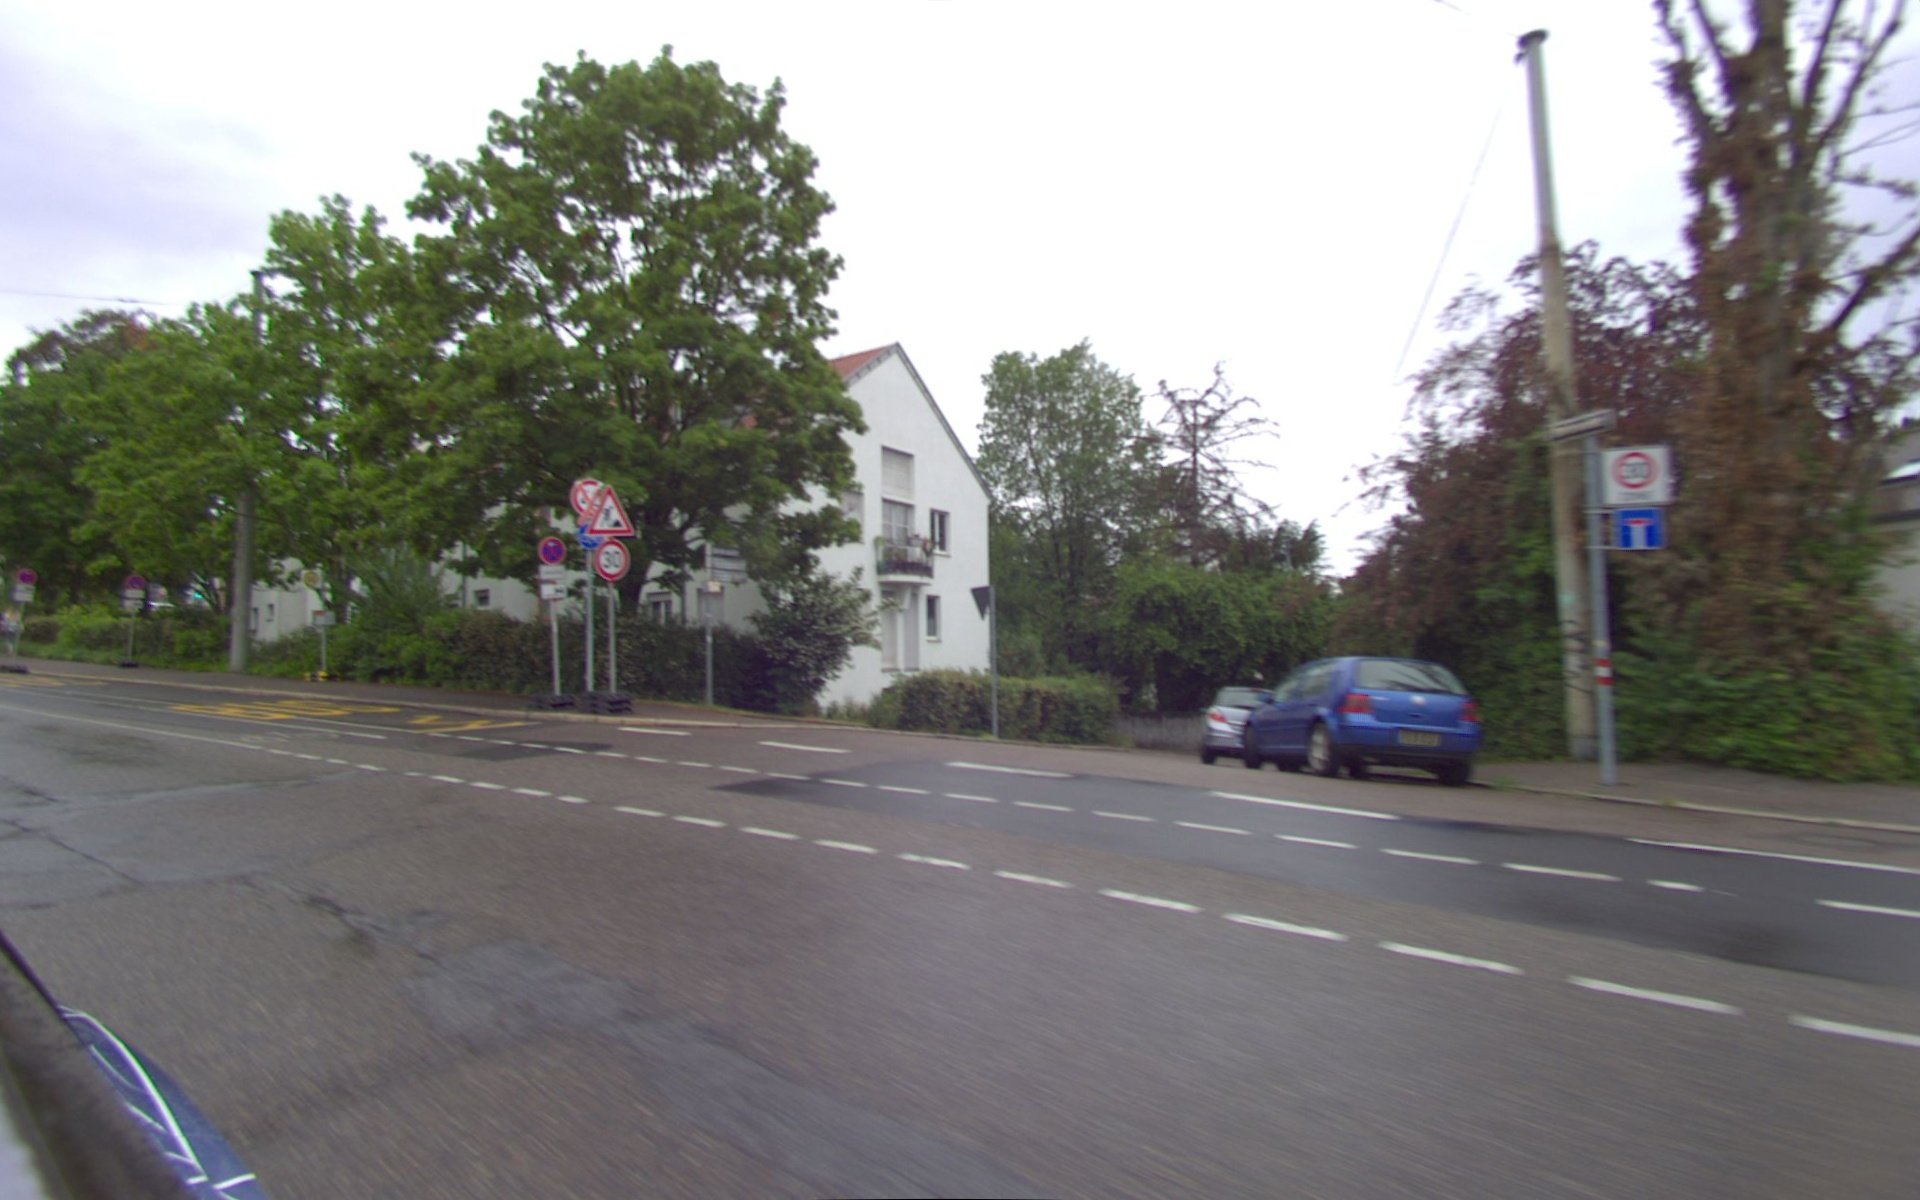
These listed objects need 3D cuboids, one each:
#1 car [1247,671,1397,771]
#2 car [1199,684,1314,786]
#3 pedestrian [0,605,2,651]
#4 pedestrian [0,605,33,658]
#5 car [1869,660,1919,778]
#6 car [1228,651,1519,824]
[{"bbox_3d":[9.918,3.316,27.611,3.937,2.427,2.058,8,-6,-39],"label":"car"},{"bbox_3d":[5.408,2.389,18.738,1.825,1.505,4.061,1,-3,15],"label":"car"},{"bbox_3d":[-34.147,1.085,35.342,1.144,1.830,0.702,-1,-3,33],"label":"pedestrian"},{"bbox_3d":[-33.697,1.127,36.031,1.152,1.830,0.675,-1,-3,33],"label":"pedestrian"},{"bbox_3d":[12.064,1.329,10.521,1.528,1.337,3.574,3,-4,-18],"label":"car"},{"bbox_3d":[4.892,1.550,12.646,1.815,1.678,3.944,2,-2,-3],"label":"car"}]
